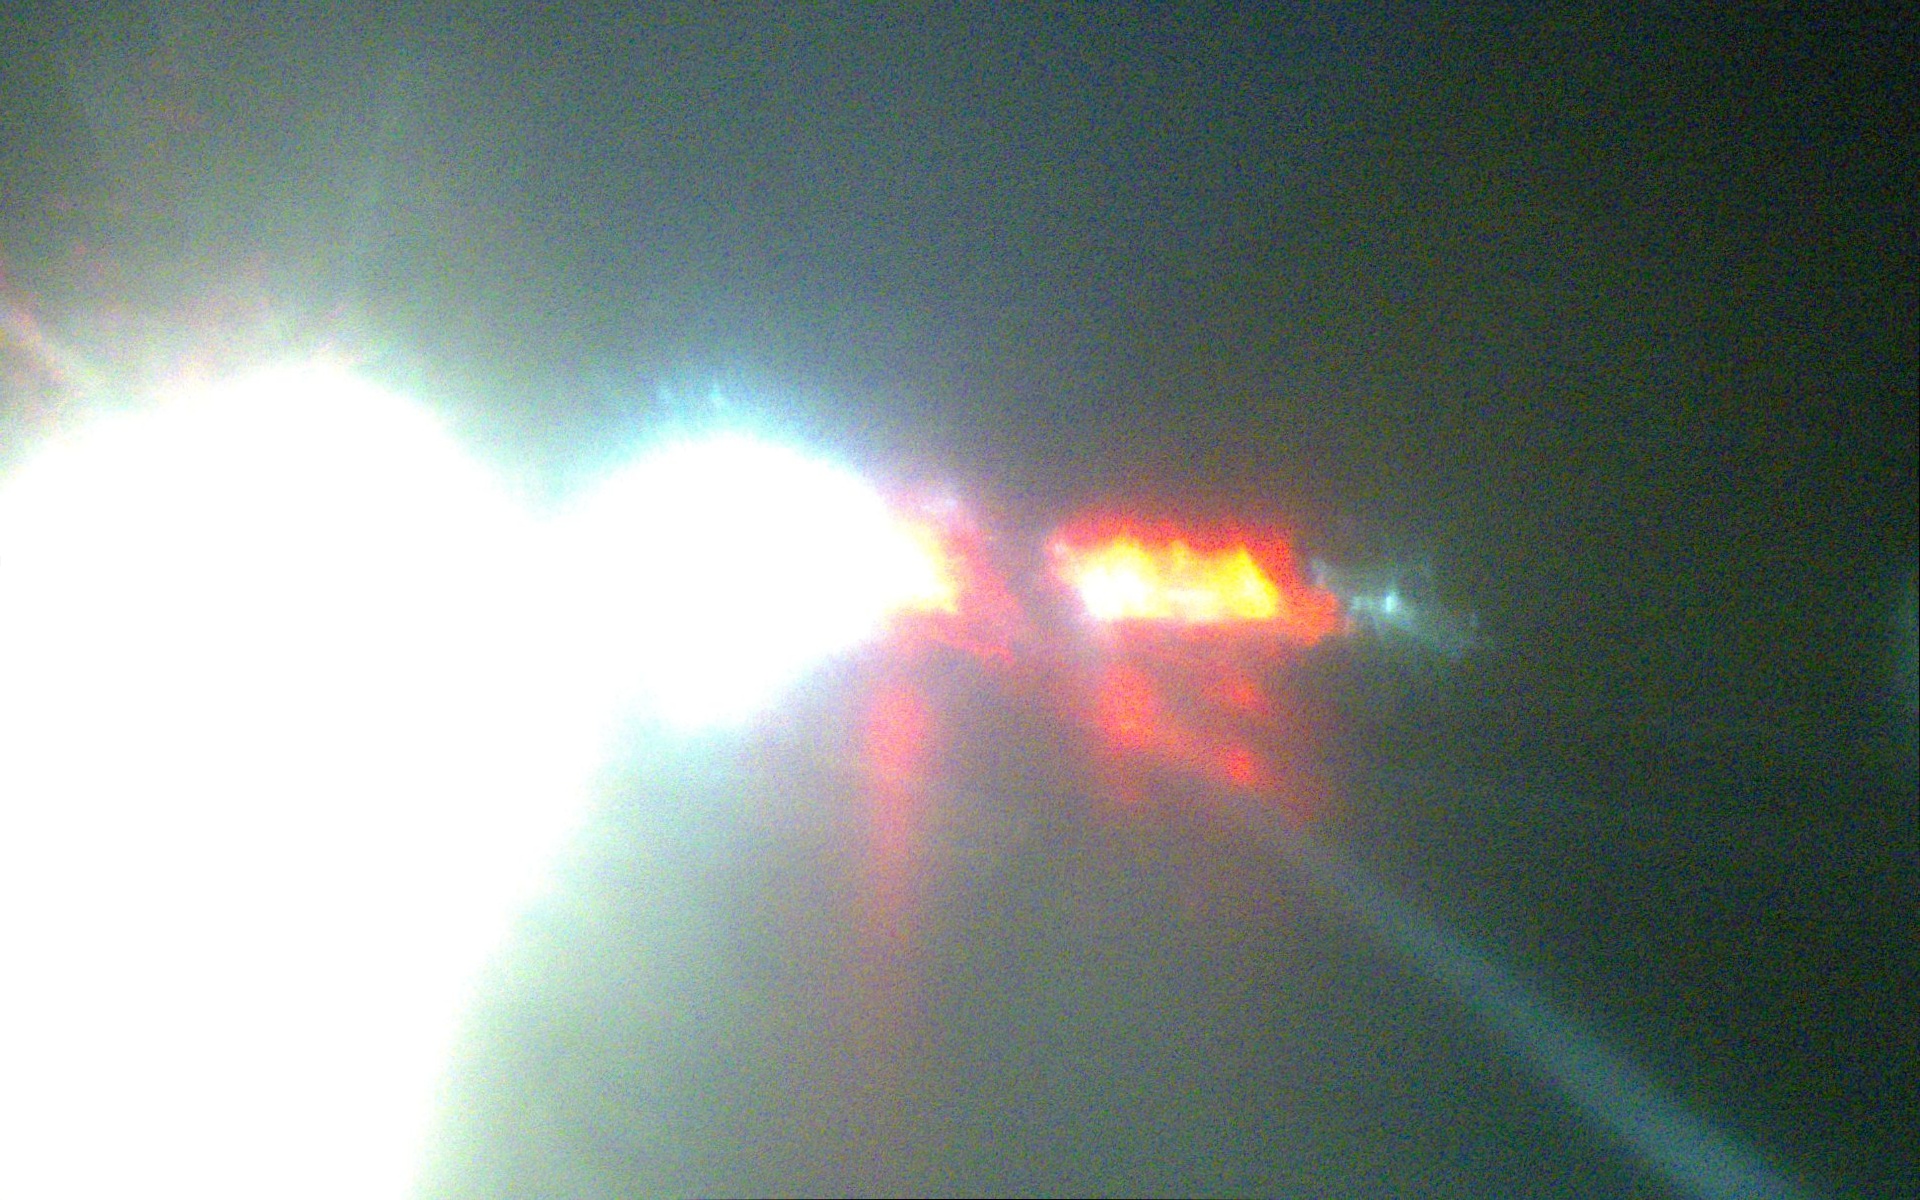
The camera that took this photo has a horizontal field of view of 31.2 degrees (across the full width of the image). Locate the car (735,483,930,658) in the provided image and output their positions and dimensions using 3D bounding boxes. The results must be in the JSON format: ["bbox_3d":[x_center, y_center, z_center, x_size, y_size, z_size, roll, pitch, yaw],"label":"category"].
[{"bbox_3d":[-1.294,-0.317,34.244,1.808,1.616,4.001,1,1,-3],"label":"car"}]

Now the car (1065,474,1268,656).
[{"bbox_3d":[2.396,-0.437,40.781,2.093,2.007,4.000,1,1,0],"label":"car"}]

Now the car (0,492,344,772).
[{"bbox_3d":[-4.738,0.132,20.533,1.993,1.493,3.776,1,1,-9],"label":"car"}]
